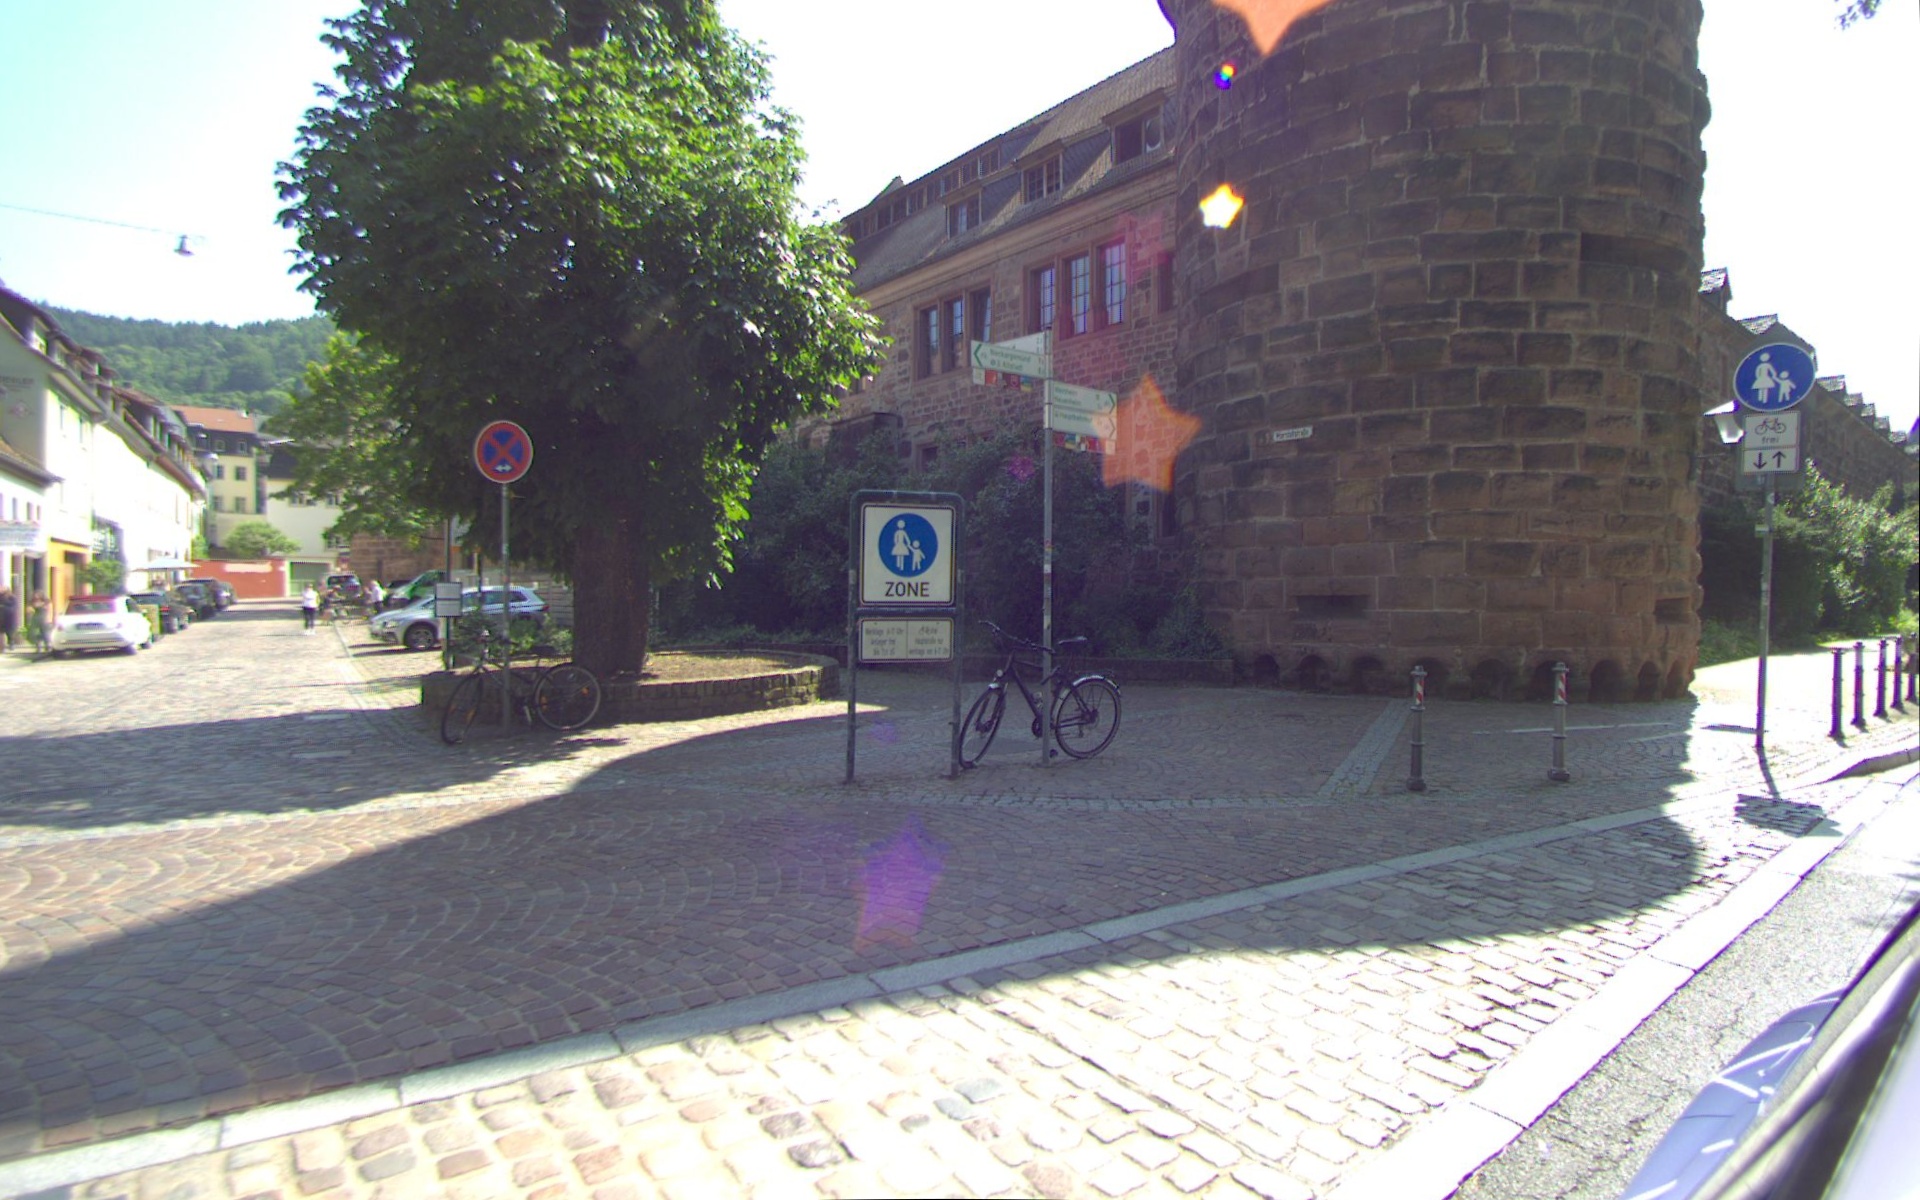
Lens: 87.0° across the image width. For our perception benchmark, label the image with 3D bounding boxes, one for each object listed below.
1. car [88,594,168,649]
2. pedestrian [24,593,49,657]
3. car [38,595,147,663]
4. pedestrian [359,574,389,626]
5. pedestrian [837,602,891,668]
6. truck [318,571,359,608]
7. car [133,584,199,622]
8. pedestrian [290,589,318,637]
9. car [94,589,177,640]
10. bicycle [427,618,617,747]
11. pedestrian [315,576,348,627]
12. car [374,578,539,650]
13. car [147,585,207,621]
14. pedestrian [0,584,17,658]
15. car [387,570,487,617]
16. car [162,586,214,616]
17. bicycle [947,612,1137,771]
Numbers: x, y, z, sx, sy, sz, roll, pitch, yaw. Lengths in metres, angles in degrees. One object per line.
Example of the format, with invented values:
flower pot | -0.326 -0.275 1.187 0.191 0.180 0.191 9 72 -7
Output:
car | -24.584 0.589 29.984 1.462 1.473 3.163 -1 2 -33
pedestrian | -23.549 0.626 25.798 0.433 1.601 0.460 0 1 -39
car | -22.328 0.677 26.168 1.804 1.591 3.846 -2 1 -36
pedestrian | -23.259 -0.004 40.173 0.864 2.039 0.741 -1 -1 -41
pedestrian | -1.623 0.588 17.163 0.638 1.082 0.630 -1 -1 -41
truck | -36.772 -0.595 59.976 1.960 1.995 4.002 -2 -1 -30
car | -32.672 0.141 41.737 1.963 1.432 3.998 -2 -1 -36
pedestrian | -22.466 0.444 34.657 0.707 1.606 0.726 -1 1 -37
car | -28.168 0.449 34.687 1.963 1.610 3.999 -2 1 -36
bicycle | -4.369 0.780 10.159 1.698 1.177 0.447 0 0 -37
pedestrian | -25.407 0.062 40.914 1.006 2.039 0.977 -1 -1 -38
car | -14.154 0.358 28.495 3.924 1.843 1.734 -2 -1 -35
car | -35.270 0.147 45.663 1.963 1.432 3.998 -2 -1 -36
pedestrian | -24.028 0.518 25.399 0.462 1.829 0.535 0 -1 -38
car | -24.980 -0.325 48.381 3.929 2.102 1.997 -2 -1 -40
car | -38.966 0.041 51.145 1.962 1.431 3.999 0 1 -36
bicycle | 0.706 0.712 8.319 1.733 1.219 0.194 0 -1 -29
